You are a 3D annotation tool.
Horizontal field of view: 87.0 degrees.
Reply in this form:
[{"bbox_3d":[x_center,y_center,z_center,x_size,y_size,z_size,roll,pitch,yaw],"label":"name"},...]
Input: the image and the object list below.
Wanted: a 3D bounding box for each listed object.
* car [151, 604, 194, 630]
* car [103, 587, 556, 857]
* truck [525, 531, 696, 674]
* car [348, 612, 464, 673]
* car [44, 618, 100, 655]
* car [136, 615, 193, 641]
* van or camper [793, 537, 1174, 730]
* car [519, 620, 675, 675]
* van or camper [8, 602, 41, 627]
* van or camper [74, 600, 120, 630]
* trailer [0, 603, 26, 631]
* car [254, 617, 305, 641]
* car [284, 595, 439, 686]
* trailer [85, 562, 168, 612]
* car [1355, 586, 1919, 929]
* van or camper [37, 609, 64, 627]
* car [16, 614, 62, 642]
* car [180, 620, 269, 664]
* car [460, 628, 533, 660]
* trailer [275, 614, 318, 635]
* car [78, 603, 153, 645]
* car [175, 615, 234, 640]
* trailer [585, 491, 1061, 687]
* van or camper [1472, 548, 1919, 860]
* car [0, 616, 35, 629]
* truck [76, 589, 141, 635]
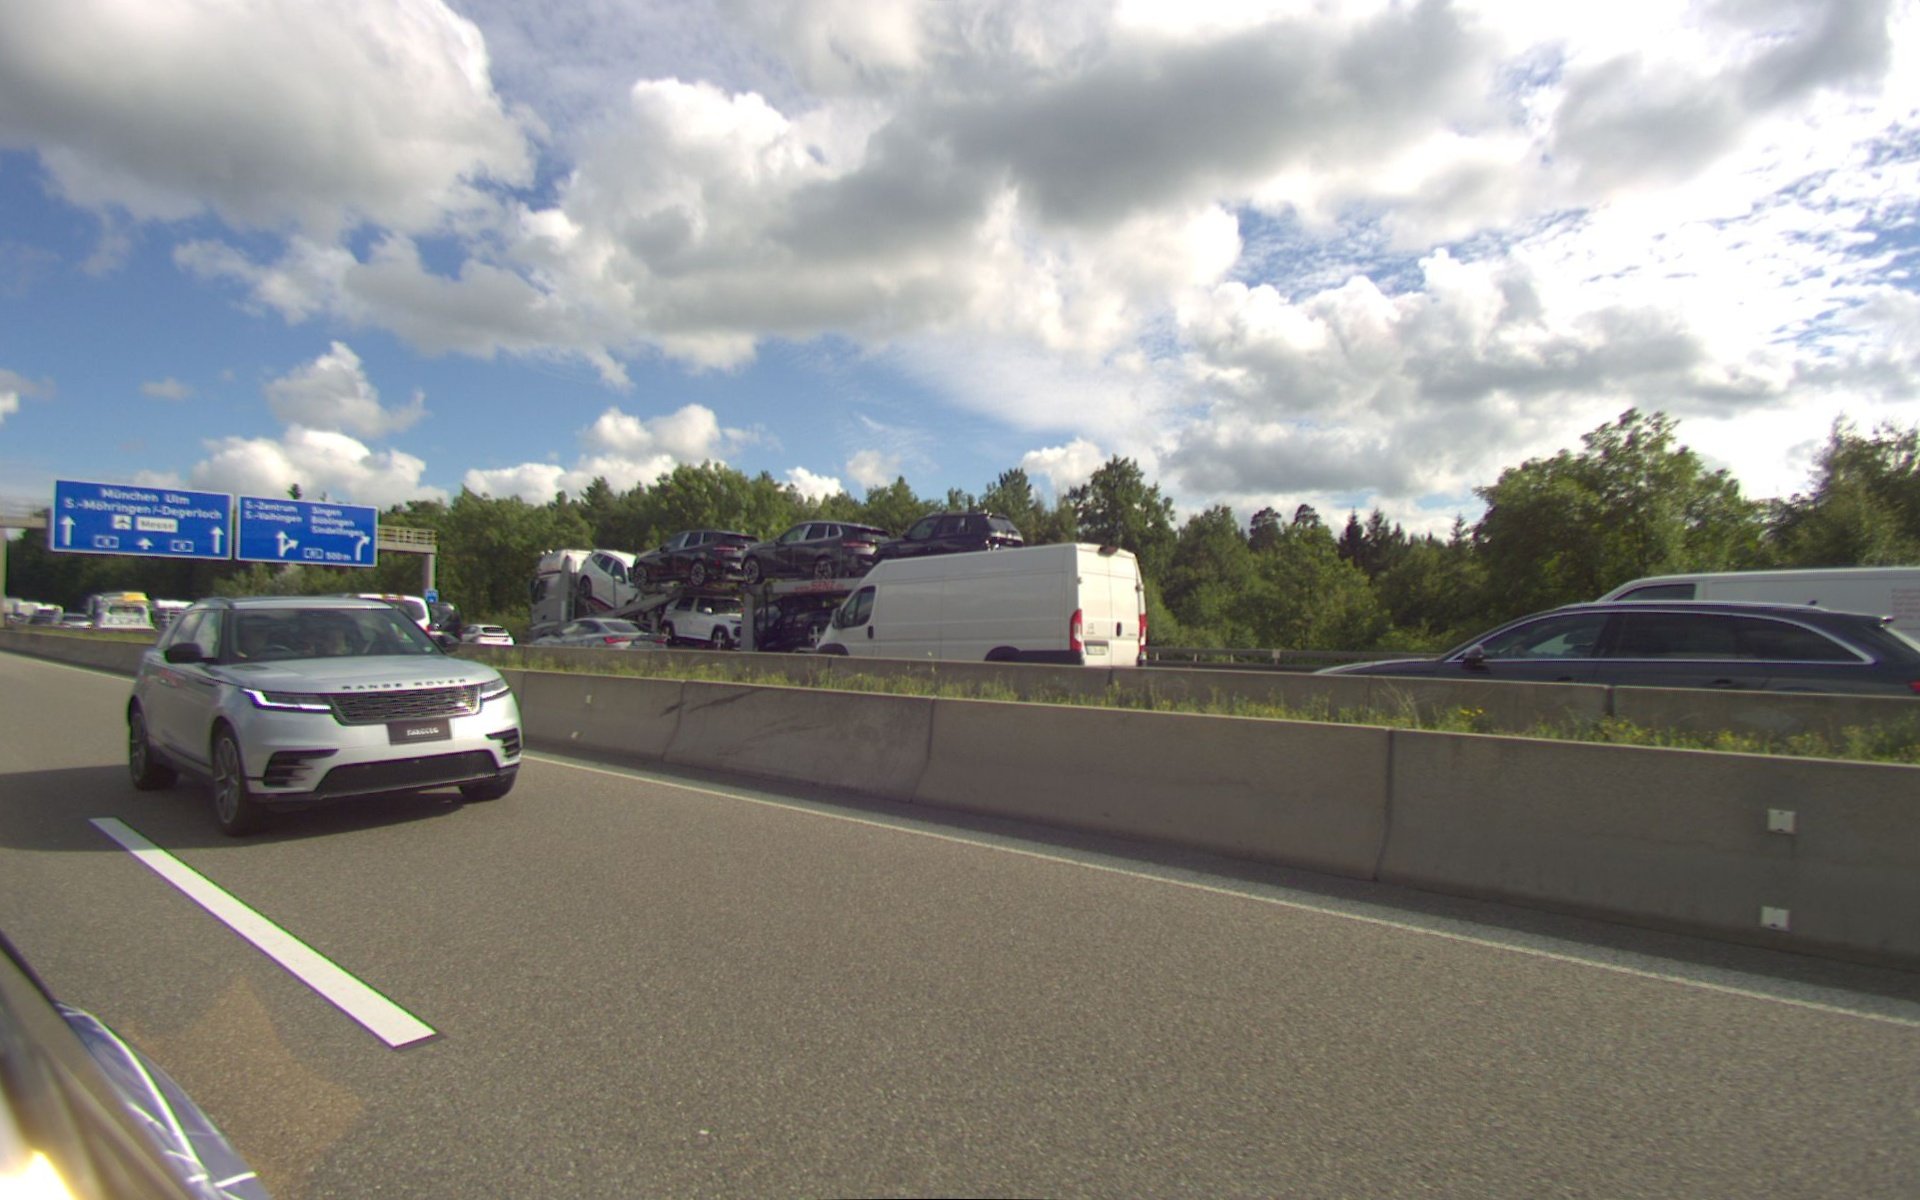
[{"bbox_3d":[-58.377,1.256,74.996,3.949,1.890,1.781,-1,-1,42],"label":"car"},{"bbox_3d":[-5.517,0.769,8.498,5.103,1.619,1.880,-1,-1,42],"label":"car"},{"bbox_3d":[-11.488,0.093,33.062,5.711,4.266,2.823,-1,0,42],"label":"truck"},{"bbox_3d":[-18.319,1.347,33.396,4.695,1.890,1.891,-1,-1,42],"label":"car"},{"bbox_3d":[-49.805,2.017,56.731,3.949,1.889,1.781,-1,2,42],"label":"car"},{"bbox_3d":[-47.652,1.662,60.559,5.374,1.460,1.769,-1,0,42],"label":"car"},{"bbox_3d":[0.150,0.453,17.378,6.630,2.731,2.365,0,0,42],"label":"van or camper"},{"bbox_3d":[-9.436,1.163,26.155,4.564,1.240,1.813,-1,0,41],"label":"car"},{"bbox_3d":[-119.490,1.826,129.243,7.480,2.911,2.444,1,1,42],"label":"van or camper"},{"bbox_3d":[-80.550,1.389,94.406,7.395,2.662,2.300,0,0,42],"label":"van or camper"},{"bbox_3d":[-134.589,2.398,142.882,10.216,3.686,2.857,-1,0,42],"label":"trailer"},{"bbox_3d":[-46.754,1.973,69.523,4.408,1.510,1.870,-1,0,42],"label":"car"},{"bbox_3d":[-15.524,0.926,26.130,5.277,2.115,1.972,0,0,42],"label":"car"},{"bbox_3d":[-70.238,-0.964,85.143,13.255,3.857,3.376,-1,0,41],"label":"trailer"},{"bbox_3d":[5.504,0.941,7.497,4.408,2.029,1.972,0,-1,42],"label":"car"},{"bbox_3d":[-104.553,2.058,116.321,2.256,2.026,4.693,-1,0,-43],"label":"van or camper"},{"bbox_3d":[-61.839,1.839,67.934,4.936,1.812,1.748,-1,0,42],"label":"car"},{"bbox_3d":[-25.472,1.417,35.005,3.999,1.383,1.677,-1,0,42],"label":"car"},{"bbox_3d":[-21.460,1.986,46.770,3.962,1.338,1.609,-1,0,42],"label":"car"},{"bbox_3d":[-52.142,1.932,79.501,4.349,1.591,1.806,-1,0,43],"label":"trailer"},{"bbox_3d":[-39.301,1.101,47.071,4.177,1.815,2.065,-1,0,41],"label":"car"},{"bbox_3d":[-37.365,1.341,50.001,4.162,1.148,1.547,-1,0,42],"label":"car"},{"bbox_3d":[-4.676,-0.061,27.060,15.998,4.005,2.801,-2,-1,41],"label":"trailer"},{"bbox_3d":[8.502,0.901,10.104,5.749,2.731,2.023,0,0,42],"label":"van or camper"},{"bbox_3d":[-72.776,1.685,78.014,5.461,0.934,1.650,-1,0,42],"label":"car"},{"bbox_3d":[-75.548,1.063,89.793,6.799,3.929,3.381,-1,0,41],"label":"truck"}]
